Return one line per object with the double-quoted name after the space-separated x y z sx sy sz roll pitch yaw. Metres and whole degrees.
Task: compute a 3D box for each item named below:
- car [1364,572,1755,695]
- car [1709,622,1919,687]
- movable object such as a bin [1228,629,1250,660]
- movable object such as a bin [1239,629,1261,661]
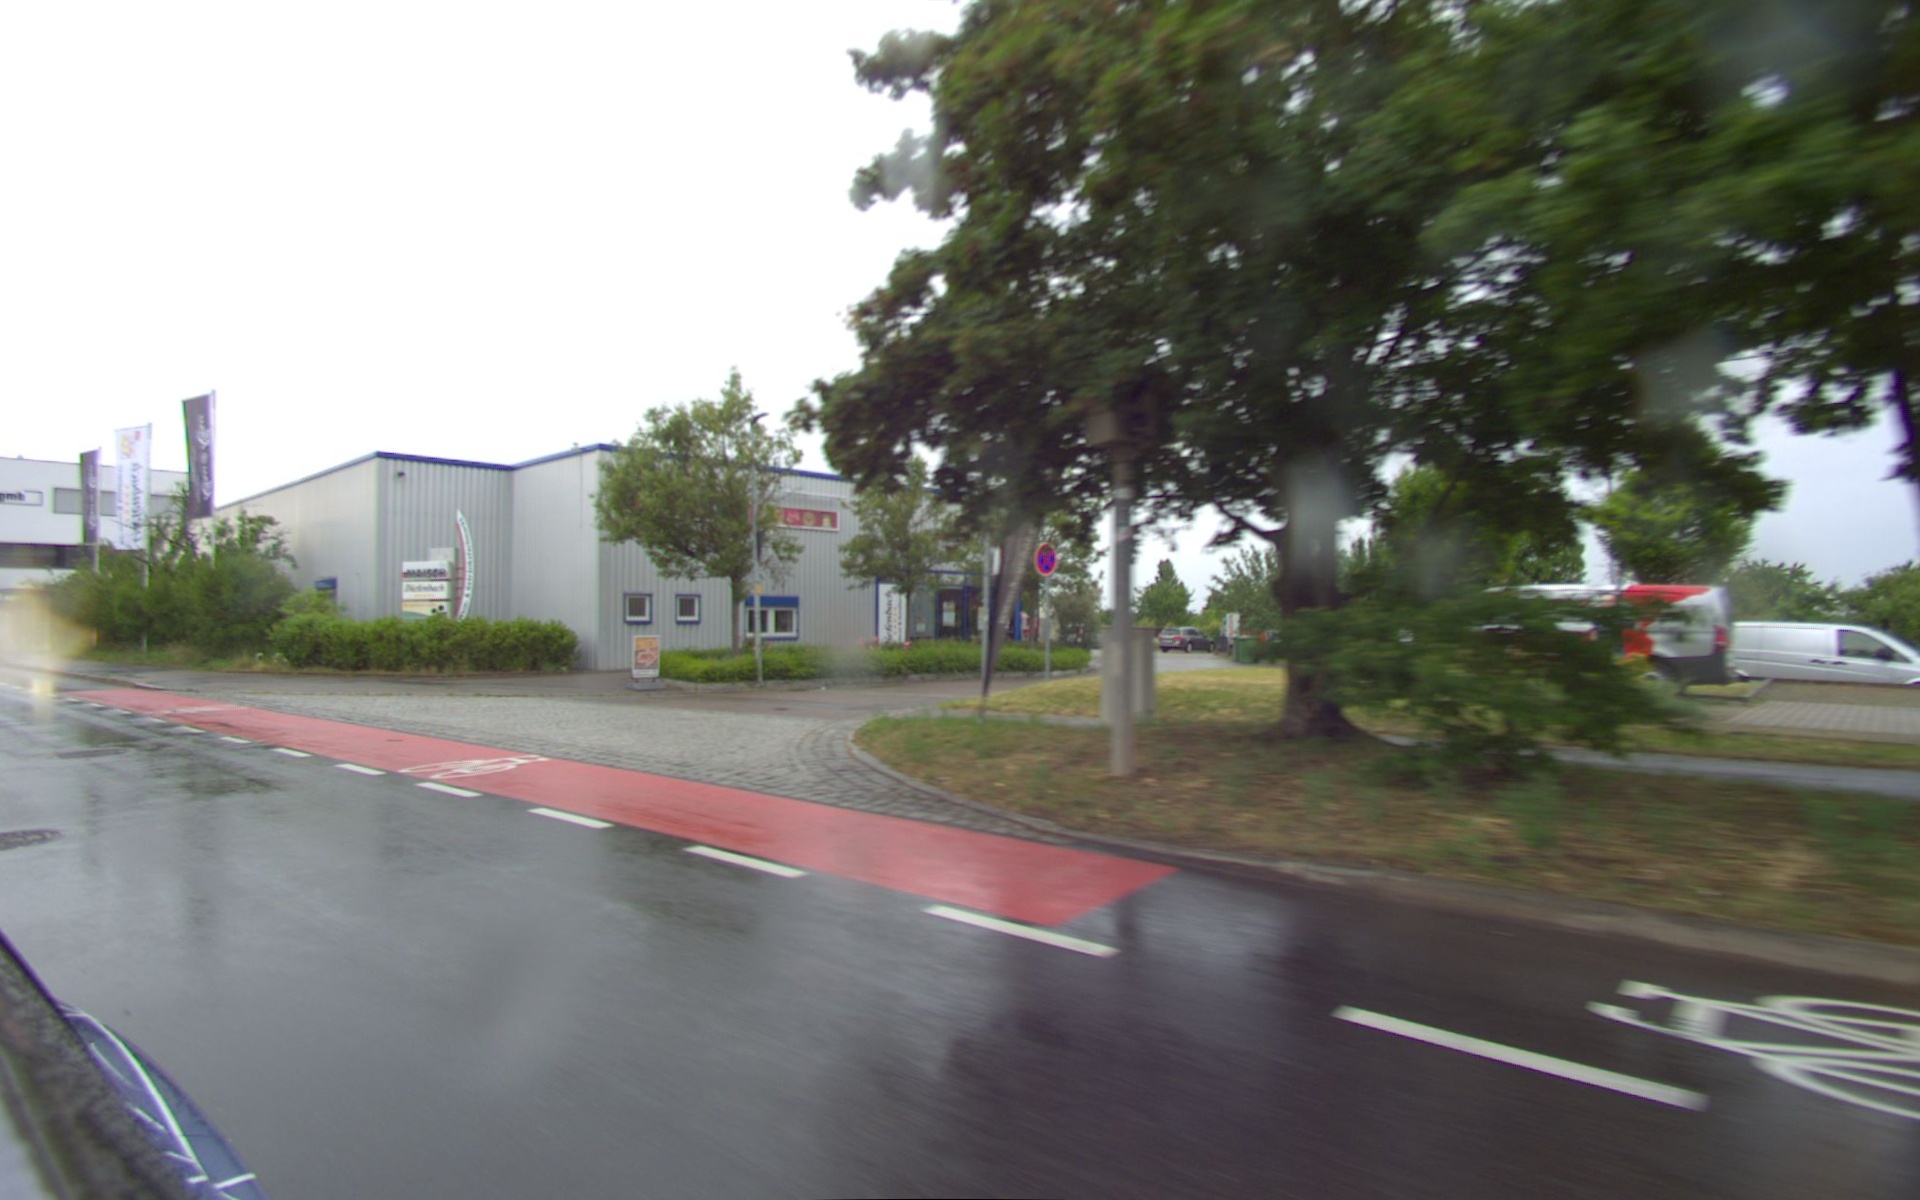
10.261 0.581 17.663 5.601 1.836 2.014 -2 -1 38 "car"
18.893 1.126 21.470 4.655 1.239 1.960 -2 -1 42 "car"
11.246 1.783 40.807 0.621 1.226 0.764 -1 -1 0 "movable object such as a bin"
11.347 1.769 39.630 0.621 1.226 0.665 -1 -1 0 "movable object such as a bin"
